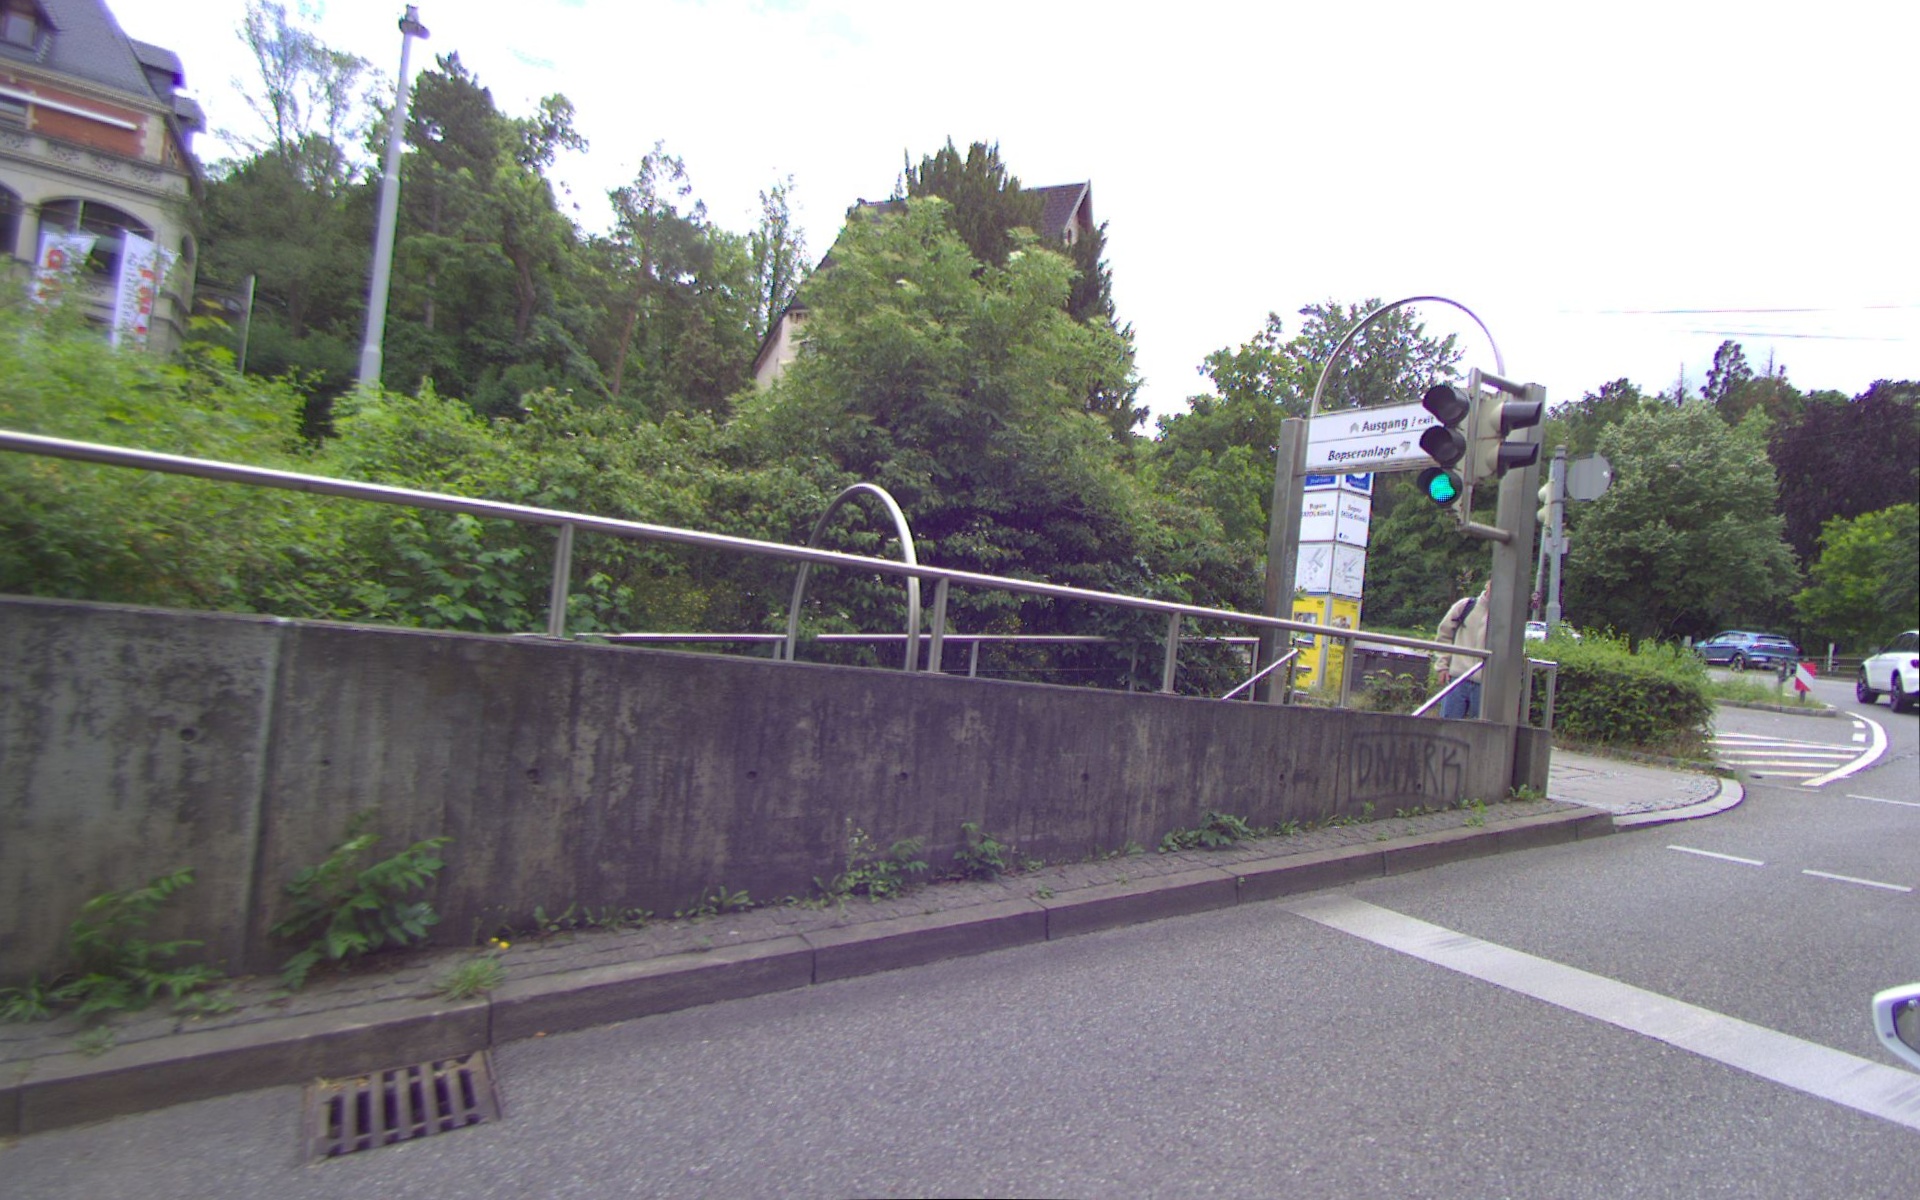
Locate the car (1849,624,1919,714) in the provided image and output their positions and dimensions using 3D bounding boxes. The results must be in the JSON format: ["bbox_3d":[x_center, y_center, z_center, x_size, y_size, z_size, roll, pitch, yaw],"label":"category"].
[{"bbox_3d":[19.702,1.395,20.307,1.851,1.674,4.330,4,0,33],"label":"car"}]

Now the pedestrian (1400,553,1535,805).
[{"bbox_3d":[3.987,0.601,7.925,0.603,1.886,0.706,2,0,-10],"label":"pedestrian"}]

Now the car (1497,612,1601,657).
[{"bbox_3d":[26.577,1.518,45.519,2.211,1.539,4.308,7,1,3],"label":"car"}]

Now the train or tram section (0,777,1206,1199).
[{"bbox_3d":[-4.610,3.051,5.302,12.833,3.554,2.936,5,-2,-29],"label":"train or tram section"}]

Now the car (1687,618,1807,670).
[{"bbox_3d":[29.985,1.634,38.454,1.829,1.653,3.961,4,1,9],"label":"car"}]
